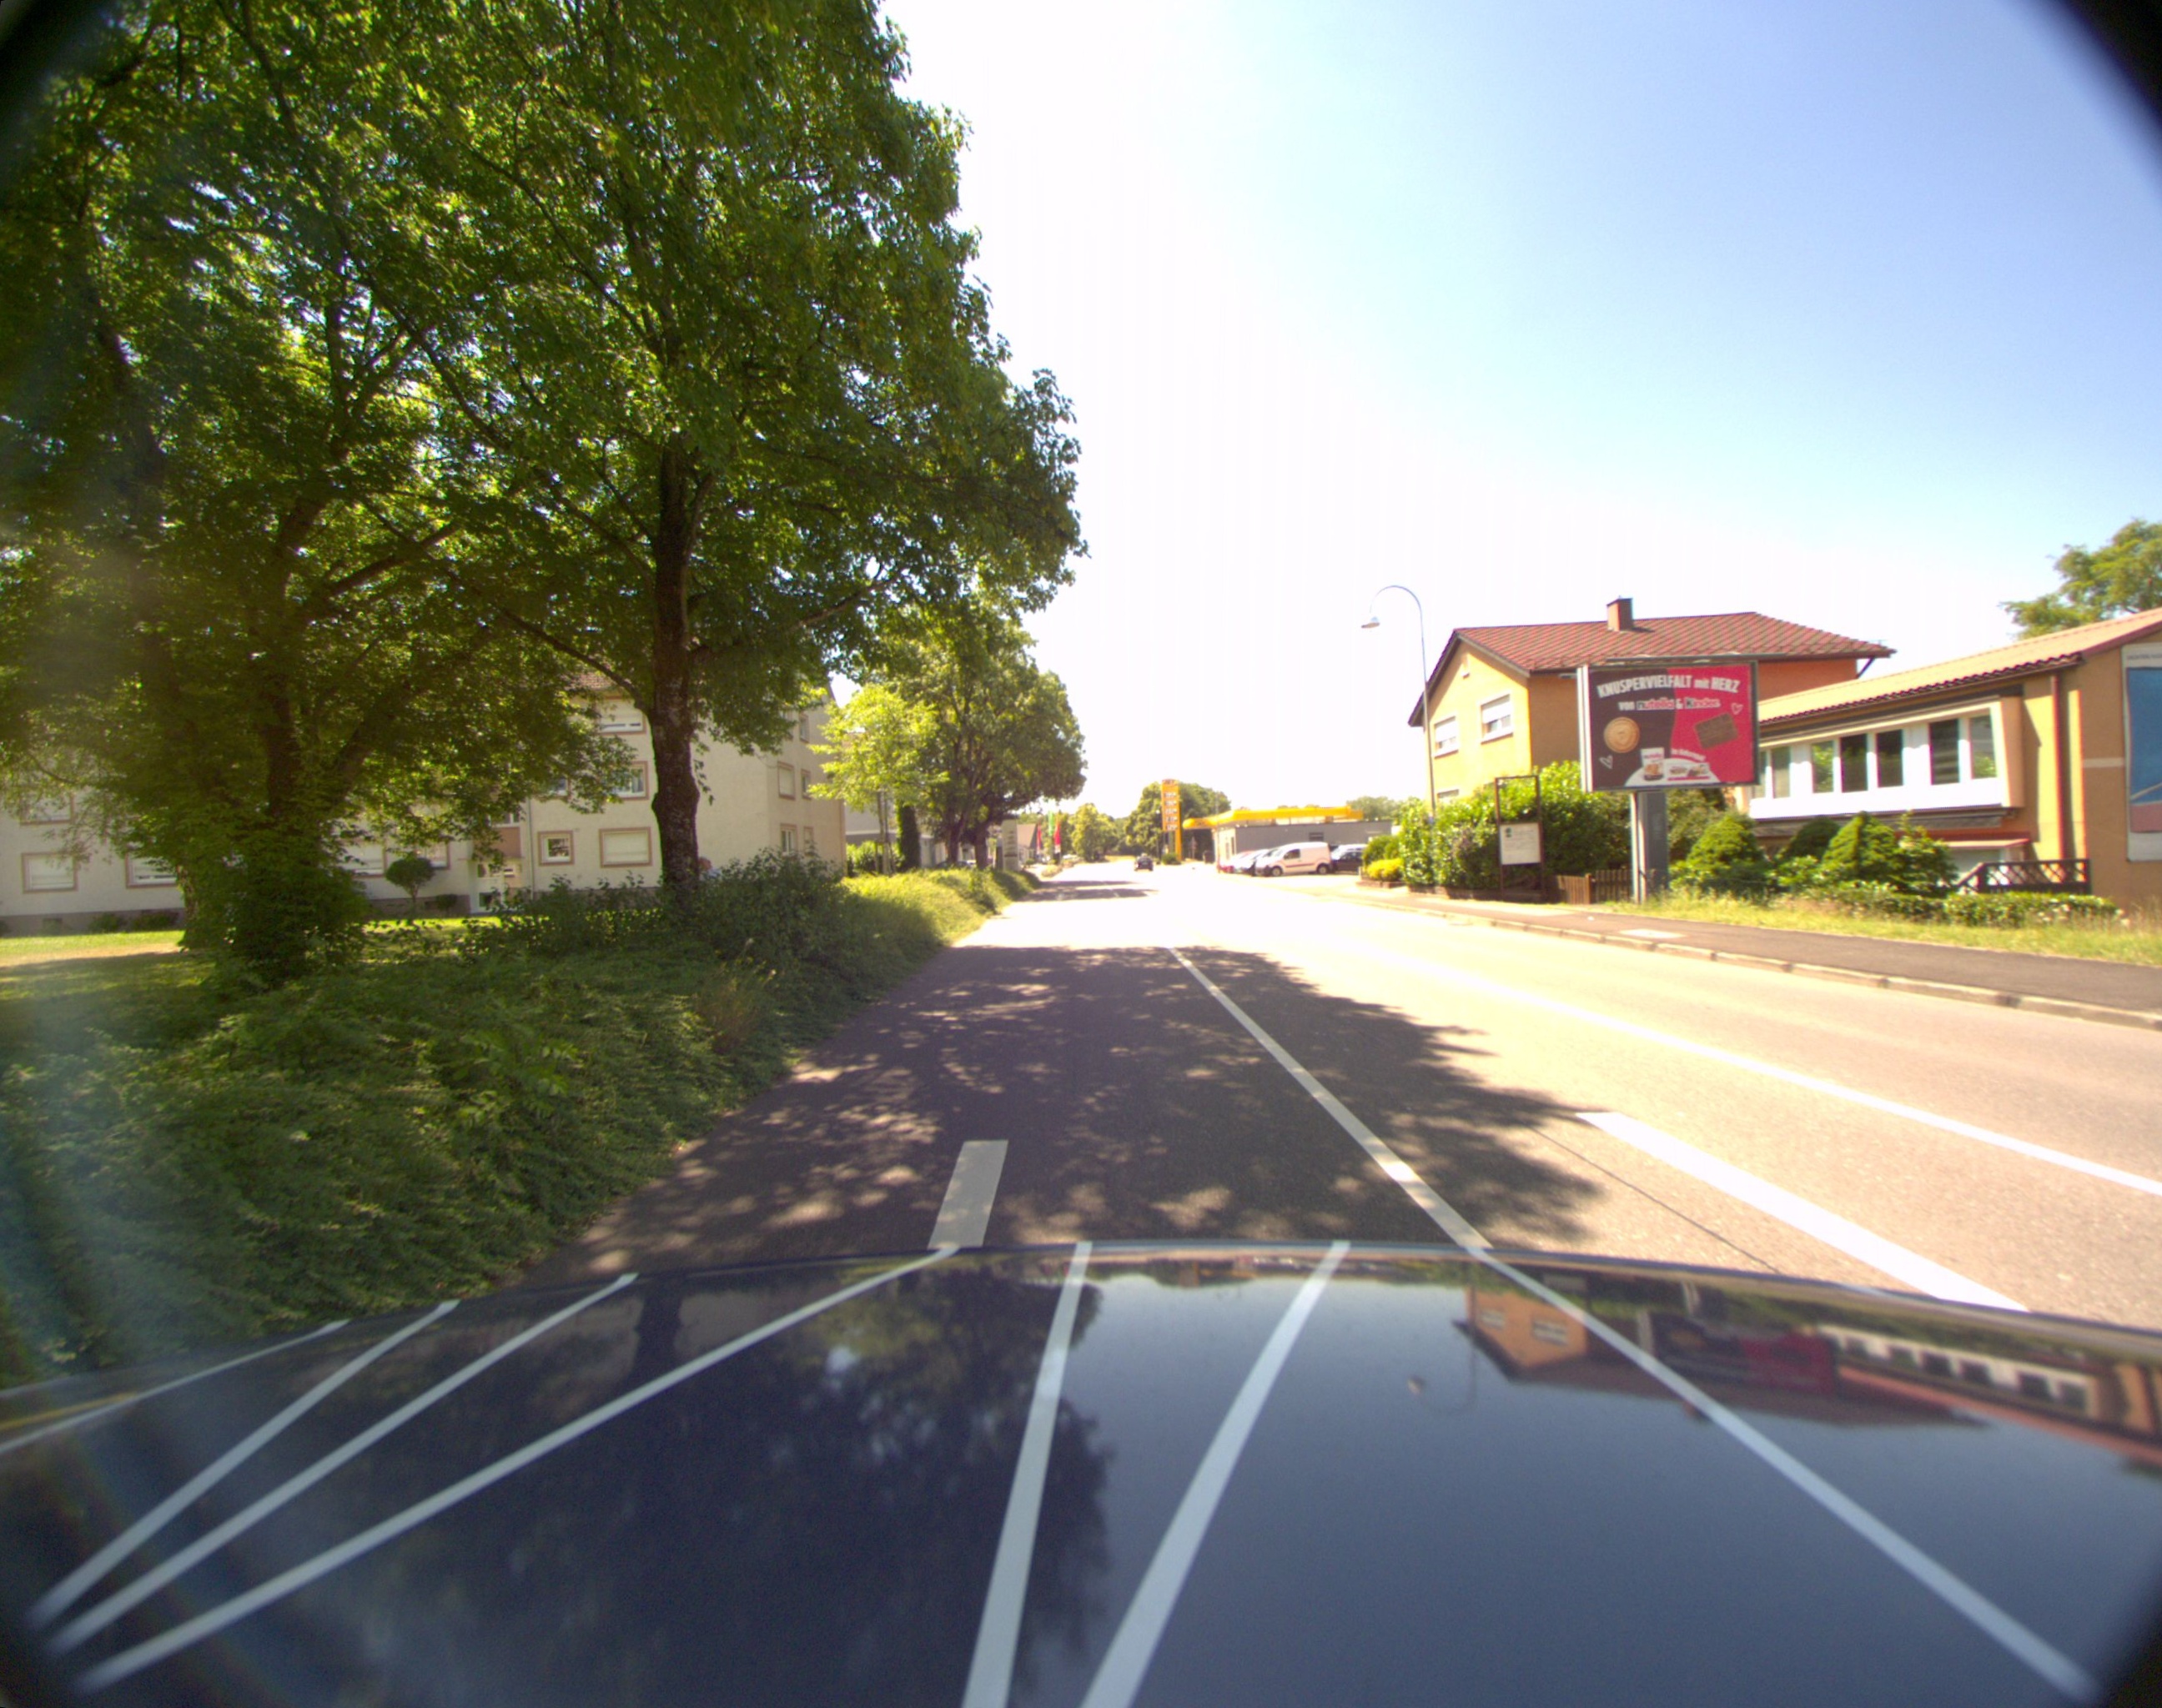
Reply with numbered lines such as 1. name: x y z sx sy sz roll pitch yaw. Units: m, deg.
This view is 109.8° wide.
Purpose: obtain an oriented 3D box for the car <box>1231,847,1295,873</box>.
1. car: 11.926 0.378 50.017 3.673 1.572 1.922 -2 1 -2

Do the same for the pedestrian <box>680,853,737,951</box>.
1. pedestrian: -7.425 0.937 15.169 0.705 1.903 0.660 -2 1 3

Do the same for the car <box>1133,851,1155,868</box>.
1. car: 6.004 0.519 72.776 1.714 1.486 4.277 -2 0 0

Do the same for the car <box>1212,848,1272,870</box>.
1. car: 12.074 0.350 57.162 4.136 1.435 1.826 -2 1 0

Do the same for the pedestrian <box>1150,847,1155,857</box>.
1. pedestrian: 13.159 -0.349 139.390 0.730 1.779 0.621 -2 1 14

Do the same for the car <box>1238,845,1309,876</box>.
1. car: 11.534 0.360 45.638 3.673 1.663 1.922 -2 1 -2

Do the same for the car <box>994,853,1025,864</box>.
1. car: -10.390 0.682 110.668 3.992 1.452 1.807 -2 1 16

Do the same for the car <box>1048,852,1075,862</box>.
1. car: -3.495 0.529 137.066 4.522 1.658 1.895 -2 0 9

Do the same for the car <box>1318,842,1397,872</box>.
1. car: 16.555 0.170 45.572 3.997 1.559 1.830 -3 0 -1

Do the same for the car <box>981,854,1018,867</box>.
1. car: -11.099 0.850 103.705 4.586 1.632 2.002 -2 1 20

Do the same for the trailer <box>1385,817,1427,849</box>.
1. trailer: 34.320 -2.152 80.423 1.869 3.200 5.914 -2 0 1

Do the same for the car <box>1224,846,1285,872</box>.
1. car: 11.908 0.311 52.208 3.673 1.596 1.881 -2 1 -2

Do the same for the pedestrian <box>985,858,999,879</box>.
1. pedestrian: -7.181 1.163 61.338 0.842 1.632 1.010 -2 1 5

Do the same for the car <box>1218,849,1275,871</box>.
1. car: 11.895 0.414 54.758 3.673 1.449 1.892 -2 1 -2

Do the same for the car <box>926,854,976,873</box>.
1. car: -11.158 0.794 65.559 3.997 1.541 1.797 -1 1 0

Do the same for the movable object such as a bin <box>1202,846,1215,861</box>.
1. movable object such as a bin: 13.470 -0.015 80.412 0.954 1.508 1.428 -6 -1 1

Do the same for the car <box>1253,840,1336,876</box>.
1. car: 12.171 0.213 43.545 4.105 1.887 1.999 -2 1 -4

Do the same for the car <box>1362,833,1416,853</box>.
1. car: 26.842 -0.932 66.280 3.996 1.575 1.754 -2 1 2

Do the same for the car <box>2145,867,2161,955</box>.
1. car: 19.697 0.894 11.597 4.035 1.442 1.781 -1 0 7

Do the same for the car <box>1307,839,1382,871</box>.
1. car: 16.495 0.055 47.697 3.912 1.850 2.000 -2 0 -1

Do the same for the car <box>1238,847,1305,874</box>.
1. car: 11.950 0.397 47.910 3.673 1.523 1.922 -2 1 -2

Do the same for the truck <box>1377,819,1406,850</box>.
1. truck: 34.387 -2.139 84.283 1.850 3.223 3.190 -2 0 1

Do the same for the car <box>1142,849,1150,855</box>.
1. car: 18.259 -0.630 213.314 1.973 1.663 4.250 -2 0 5

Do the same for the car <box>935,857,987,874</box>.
1. car: -10.927 1.040 69.195 4.362 1.363 1.952 -2 1 -22
